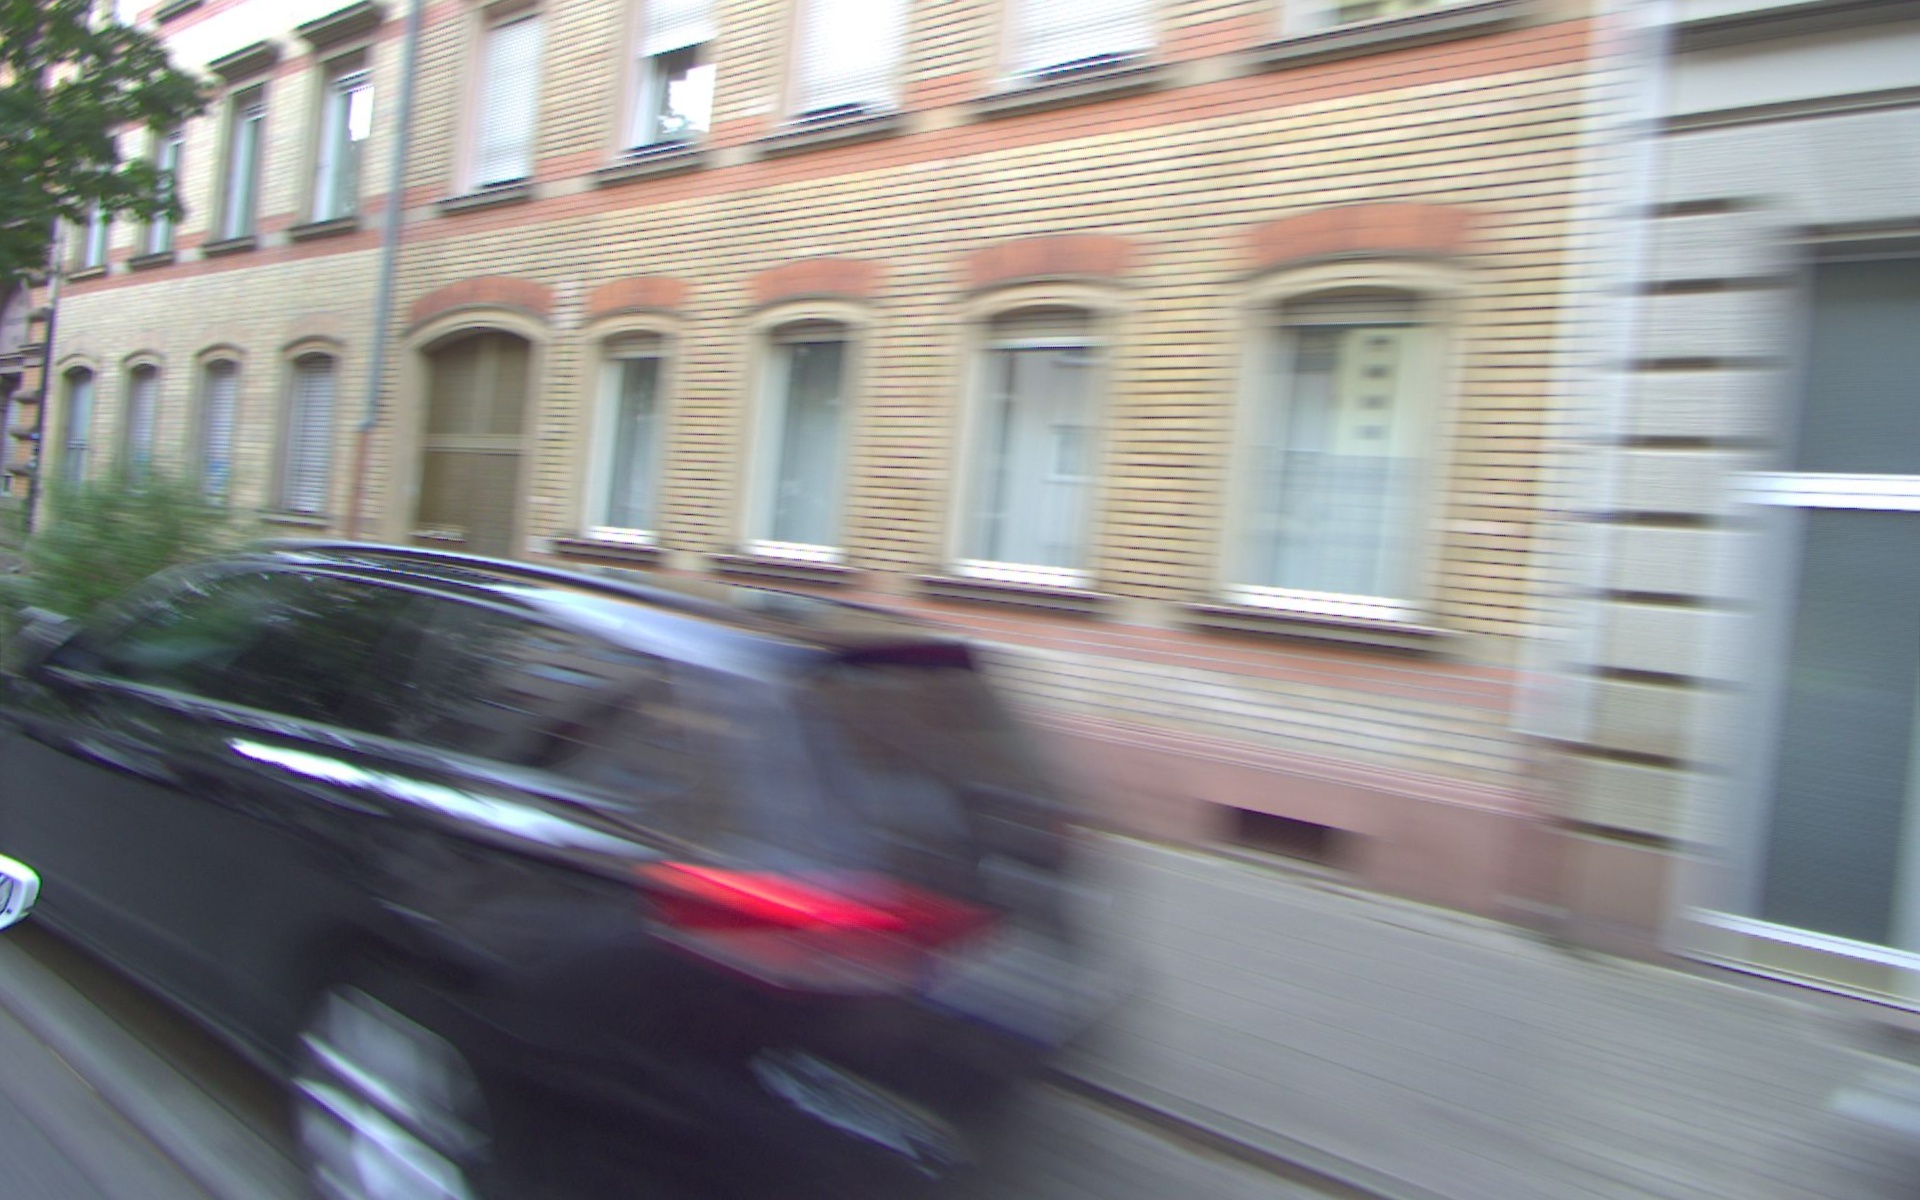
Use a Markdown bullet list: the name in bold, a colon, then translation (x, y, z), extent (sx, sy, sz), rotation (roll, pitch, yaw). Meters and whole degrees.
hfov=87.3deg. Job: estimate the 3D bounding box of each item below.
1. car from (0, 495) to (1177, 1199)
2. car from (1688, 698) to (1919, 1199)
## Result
- **car**: translation (-1.756, 0.528, 3.326), extent (4.399, 1.433, 1.767), rotation (7, 2, 32)
- **car**: translation (2.784, 1.064, 0.657), extent (3.504, 1.442, 1.637), rotation (7, 1, 30)
